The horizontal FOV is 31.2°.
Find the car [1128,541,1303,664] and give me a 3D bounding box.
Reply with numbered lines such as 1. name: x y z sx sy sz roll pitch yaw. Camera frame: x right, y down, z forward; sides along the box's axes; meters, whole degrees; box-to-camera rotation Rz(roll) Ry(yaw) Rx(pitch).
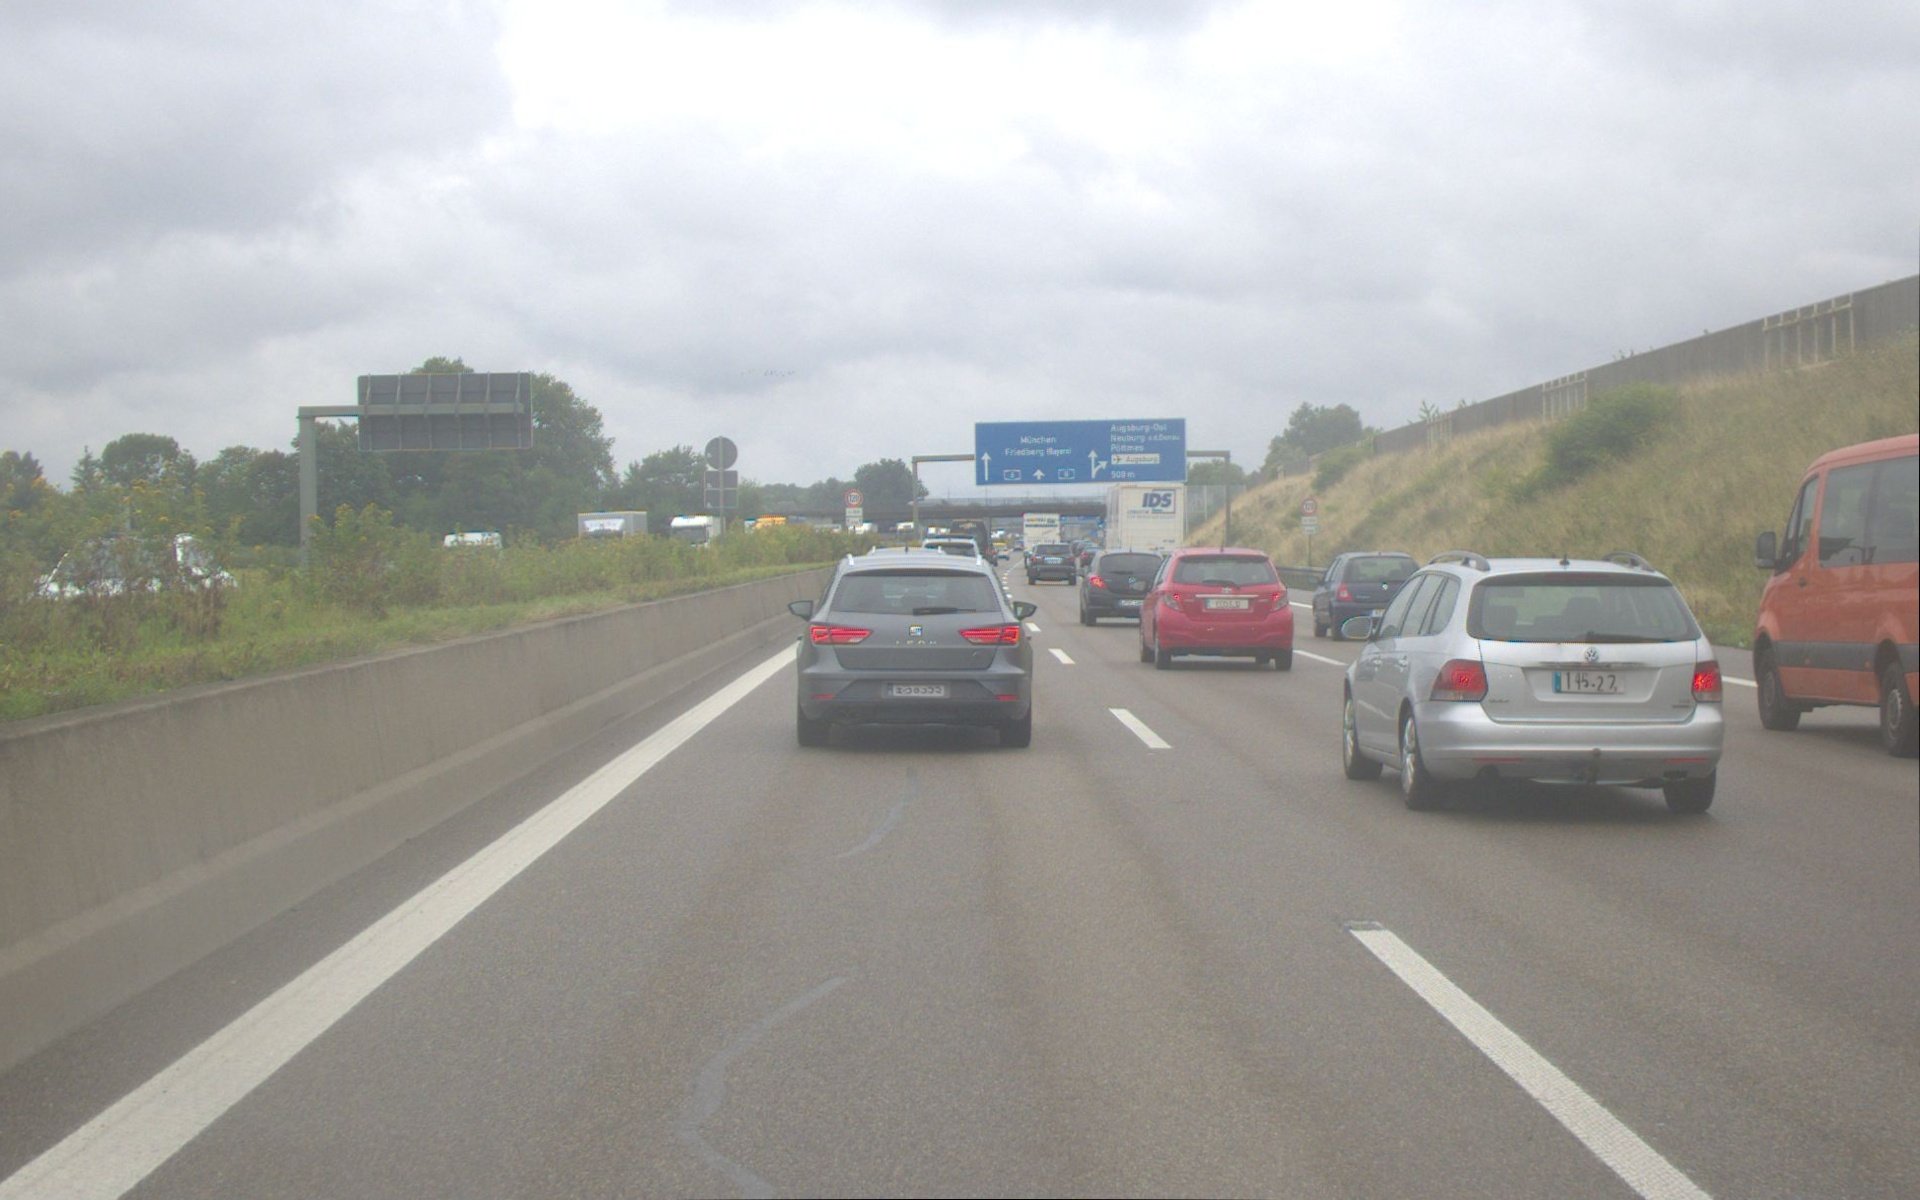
1. car: 3.164 -0.007 43.416 1.891 1.442 4.685 0 1 1

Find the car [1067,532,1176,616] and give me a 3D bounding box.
1. car: 3.025 -0.513 65.174 1.921 1.516 4.622 0 1 1

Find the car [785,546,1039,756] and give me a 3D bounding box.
1. car: -0.340 0.336 26.221 1.768 1.462 4.000 1 1 0

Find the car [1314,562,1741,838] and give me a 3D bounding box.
1. car: 3.264 0.510 20.618 1.742 1.420 4.517 -1 1 -1

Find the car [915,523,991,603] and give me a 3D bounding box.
1. car: -0.170 -0.892 81.923 1.704 1.790 3.855 -2 1 0

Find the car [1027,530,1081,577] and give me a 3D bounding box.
1. car: 3.466 -1.734 127.923 1.845 1.681 4.000 1 1 0

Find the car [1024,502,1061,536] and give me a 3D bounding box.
1. car: 4.990 -4.915 208.099 1.993 2.007 4.000 -1 1 -2

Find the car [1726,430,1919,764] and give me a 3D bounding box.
1. car: 7.606 -0.073 25.961 2.085 2.307 6.182 0 1 -2

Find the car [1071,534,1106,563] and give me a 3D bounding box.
1. car: 8.298 -3.339 221.617 1.993 1.853 4.391 -1 1 -1

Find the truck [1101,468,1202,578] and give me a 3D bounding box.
1. truck: 7.907 -3.136 144.306 3.283 4.280 19.033 1 1 0

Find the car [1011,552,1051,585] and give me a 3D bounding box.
1. car: 3.406 -1.527 165.729 1.751 1.512 4.000 -1 1 -1

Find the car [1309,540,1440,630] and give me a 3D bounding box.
1. car: 6.676 -0.253 55.725 1.702 1.396 3.875 1 1 1

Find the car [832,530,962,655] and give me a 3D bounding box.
1. car: -0.891 -0.126 50.441 1.754 1.744 4.000 1 1 1
